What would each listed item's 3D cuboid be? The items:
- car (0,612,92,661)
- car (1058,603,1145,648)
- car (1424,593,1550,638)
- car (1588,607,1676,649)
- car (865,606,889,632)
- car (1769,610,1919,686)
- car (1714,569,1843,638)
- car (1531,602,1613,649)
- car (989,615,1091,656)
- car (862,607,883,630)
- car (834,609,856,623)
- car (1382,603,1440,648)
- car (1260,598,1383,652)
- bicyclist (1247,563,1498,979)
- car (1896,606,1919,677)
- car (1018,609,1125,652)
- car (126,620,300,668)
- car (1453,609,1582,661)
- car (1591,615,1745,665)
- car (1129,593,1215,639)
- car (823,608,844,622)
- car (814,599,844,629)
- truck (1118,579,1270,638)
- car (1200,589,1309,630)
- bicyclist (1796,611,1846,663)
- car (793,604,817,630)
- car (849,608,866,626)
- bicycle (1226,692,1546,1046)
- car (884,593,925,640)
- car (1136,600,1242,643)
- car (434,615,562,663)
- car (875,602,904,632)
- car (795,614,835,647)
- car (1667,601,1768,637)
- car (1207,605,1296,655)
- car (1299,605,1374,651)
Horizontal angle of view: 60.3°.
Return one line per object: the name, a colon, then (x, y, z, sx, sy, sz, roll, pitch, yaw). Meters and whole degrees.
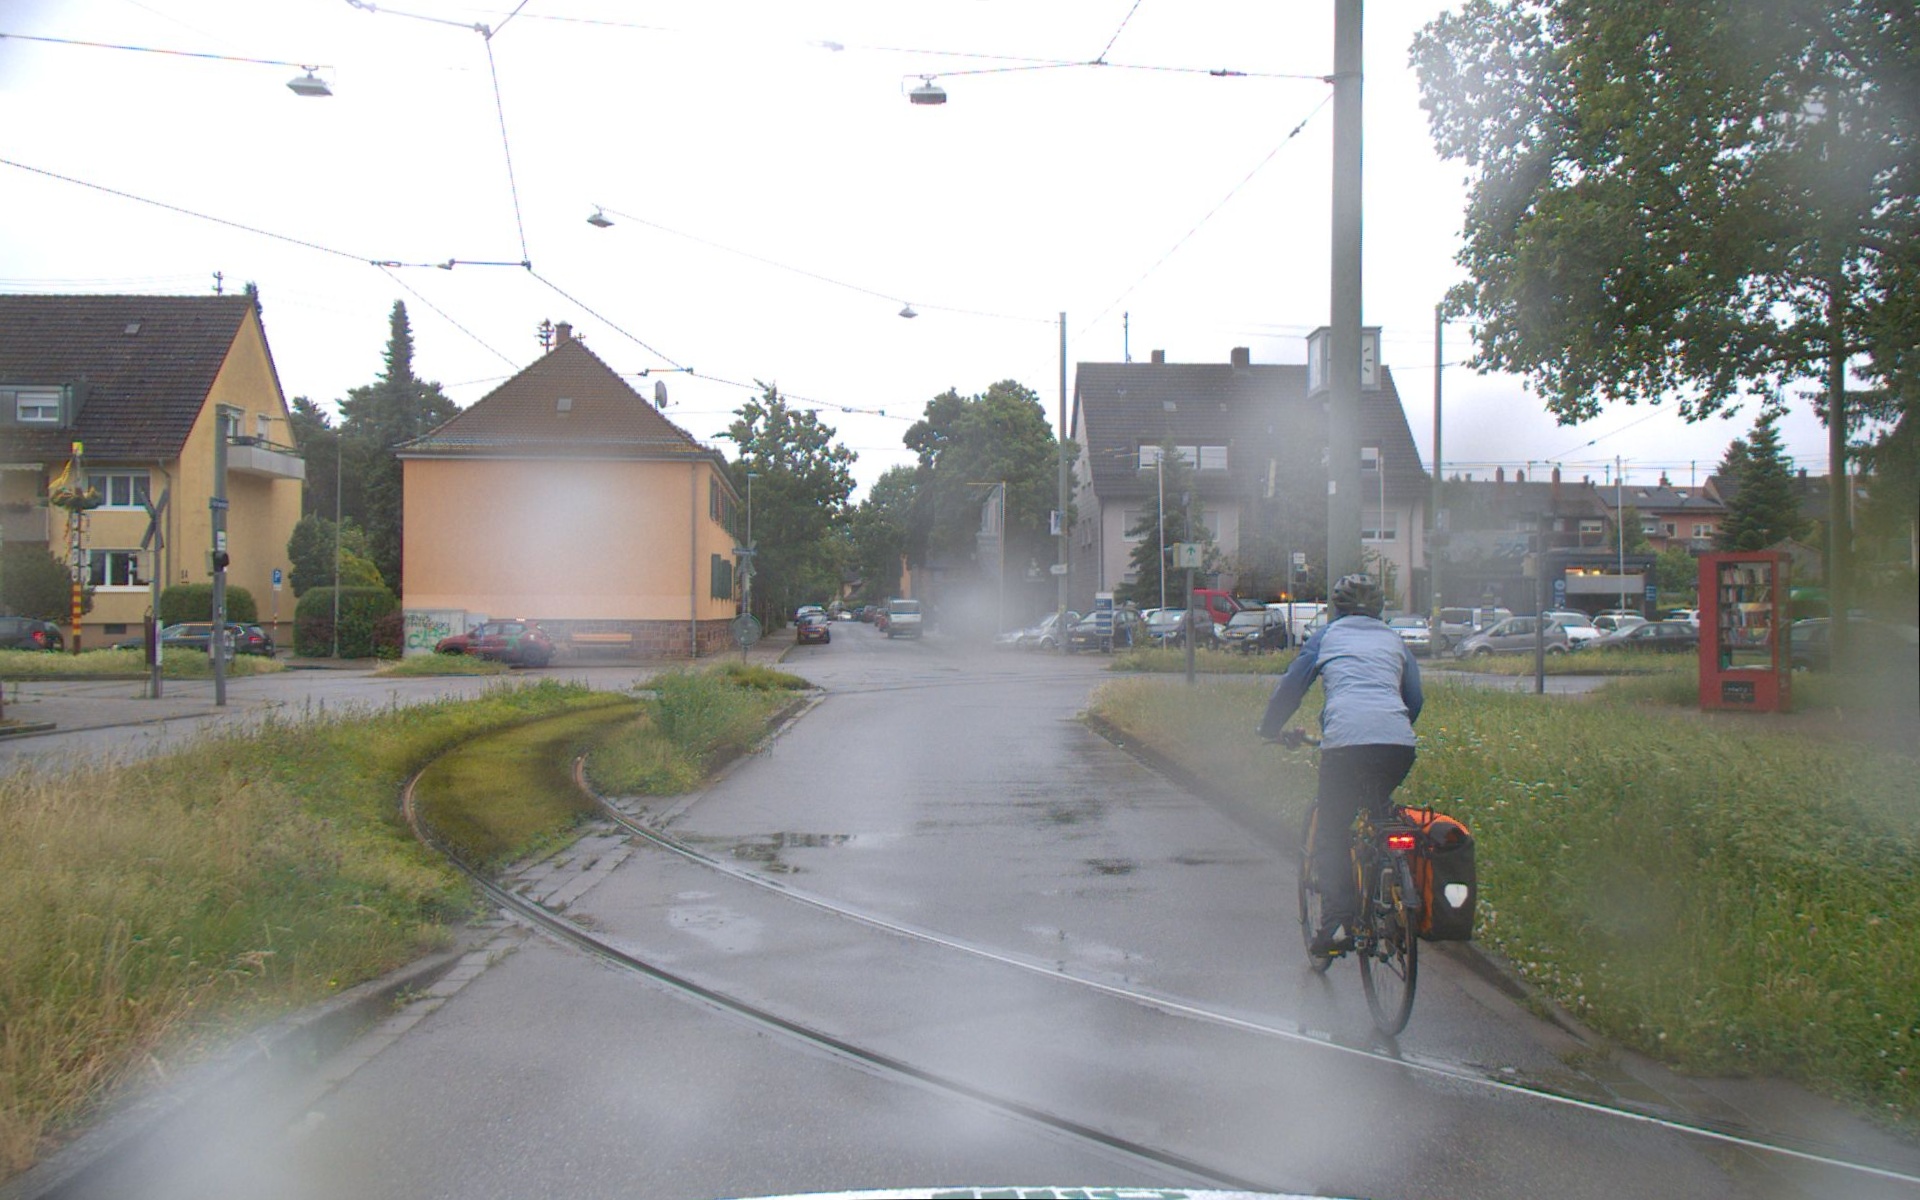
car: (-28.442, 1.074, 49.539, 3.910, 1.355, 1.758, 2, -1, -6)
car: (5.327, 0.934, 61.784, 1.768, 1.606, 3.865, -1, -1, 29)
car: (20.587, 0.613, 64.711, 4.342, 1.717, 1.760, 0, -1, -1)
car: (24.472, 1.004, 60.340, 1.682, 1.420, 3.842, 2, -1, 1)
car: (-6.823, 1.572, 135.478, 1.793, 2.049, 3.996, 2, -1, -5)
car: (19.108, 0.954, 34.014, 1.781, 1.502, 4.131, 0, -1, -32)
car: (30.827, 0.147, 62.515, 2.102, 2.448, 5.146, 2, -1, -3)
car: (22.374, 0.923, 60.592, 1.682, 1.600, 3.617, 2, -1, 1)
car: (3.306, 1.457, 68.440, 3.806, 1.606, 1.795, -1, -1, -23)
car: (-8.133, 1.712, 153.587, 1.793, 2.049, 3.996, 2, -1, -5)
car: (-15.080, 2.088, 217.139, 1.801, 1.727, 4.009, 2, -1, -19)
car: (16.354, 0.935, 60.131, 1.789, 1.530, 4.061, 2, -1, 12)
car: (14.117, 0.978, 64.757, 4.342, 2.049, 1.999, 0, -1, -1)
bicyclist: (1.588, 0.630, 6.504, 0.735, 1.511, 0.846, -1, -1, -1)
car: (22.001, 0.866, 34.088, 1.778, 1.502, 4.507, 0, -1, -28)
car: (4.401, 1.191, 65.167, 3.806, 1.606, 1.795, -1, -1, -23)
car: (-22.750, 1.328, 50.516, 4.403, 1.420, 1.965, 0, -1, -5)
car: (18.018, 1.118, 53.580, 3.559, 1.530, 1.722, 2, -1, -3)
car: (23.143, 1.296, 54.120, 4.290, 1.362, 1.721, 3, -1, -6)
car: (7.748, 0.555, 60.215, 1.768, 1.606, 3.865, -1, -1, 29)
car: (-17.073, 2.037, 222.471, 1.801, 1.727, 4.009, 2, -1, -19)
car: (-9.374, 1.034, 118.766, 1.954, 2.049, 3.997, 2, -1, -3)
truck: (9.684, 0.387, 68.446, 5.954, 2.312, 2.001, -1, -2, 17)
car: (12.768, 0.422, 71.843, 4.342, 1.717, 1.999, 0, -1, -1)
bicyclist: (27.291, 1.169, 52.427, 1.018, 1.626, 0.949, -1, -1, -4)
car: (-12.631, 1.354, 134.954, 1.793, 2.049, 3.996, 2, -1, -5)
car: (-12.348, 2.007, 198.971, 1.793, 2.049, 3.996, 2, -1, -5)
bicycle: (1.601, 0.965, 6.579, 0.737, 1.091, 1.926, -1, -1, -1)
car: (-3.271, 0.963, 96.863, 2.111, 2.617, 4.129, 2, -1, -5)
car: (9.073, 0.863, 65.438, 3.882, 1.626, 2.001, -1, -2, 17)
car: (-14.368, 1.207, 51.608, 3.535, 1.362, 1.721, 2, -1, -6)
car: (-4.950, 1.178, 115.728, 1.954, 2.049, 3.997, 2, -1, -3)
car: (-7.364, 1.558, 84.020, 1.954, 1.646, 3.996, 0, -1, -5)
car: (34.368, 0.881, 75.045, 4.375, 1.608, 1.780, 0, -2, -25)
car: (10.585, 1.082, 59.823, 1.956, 1.747, 3.993, -1, -1, 30)
car: (13.694, 1.030, 60.022, 1.791, 1.530, 4.055, 2, -1, 25)
